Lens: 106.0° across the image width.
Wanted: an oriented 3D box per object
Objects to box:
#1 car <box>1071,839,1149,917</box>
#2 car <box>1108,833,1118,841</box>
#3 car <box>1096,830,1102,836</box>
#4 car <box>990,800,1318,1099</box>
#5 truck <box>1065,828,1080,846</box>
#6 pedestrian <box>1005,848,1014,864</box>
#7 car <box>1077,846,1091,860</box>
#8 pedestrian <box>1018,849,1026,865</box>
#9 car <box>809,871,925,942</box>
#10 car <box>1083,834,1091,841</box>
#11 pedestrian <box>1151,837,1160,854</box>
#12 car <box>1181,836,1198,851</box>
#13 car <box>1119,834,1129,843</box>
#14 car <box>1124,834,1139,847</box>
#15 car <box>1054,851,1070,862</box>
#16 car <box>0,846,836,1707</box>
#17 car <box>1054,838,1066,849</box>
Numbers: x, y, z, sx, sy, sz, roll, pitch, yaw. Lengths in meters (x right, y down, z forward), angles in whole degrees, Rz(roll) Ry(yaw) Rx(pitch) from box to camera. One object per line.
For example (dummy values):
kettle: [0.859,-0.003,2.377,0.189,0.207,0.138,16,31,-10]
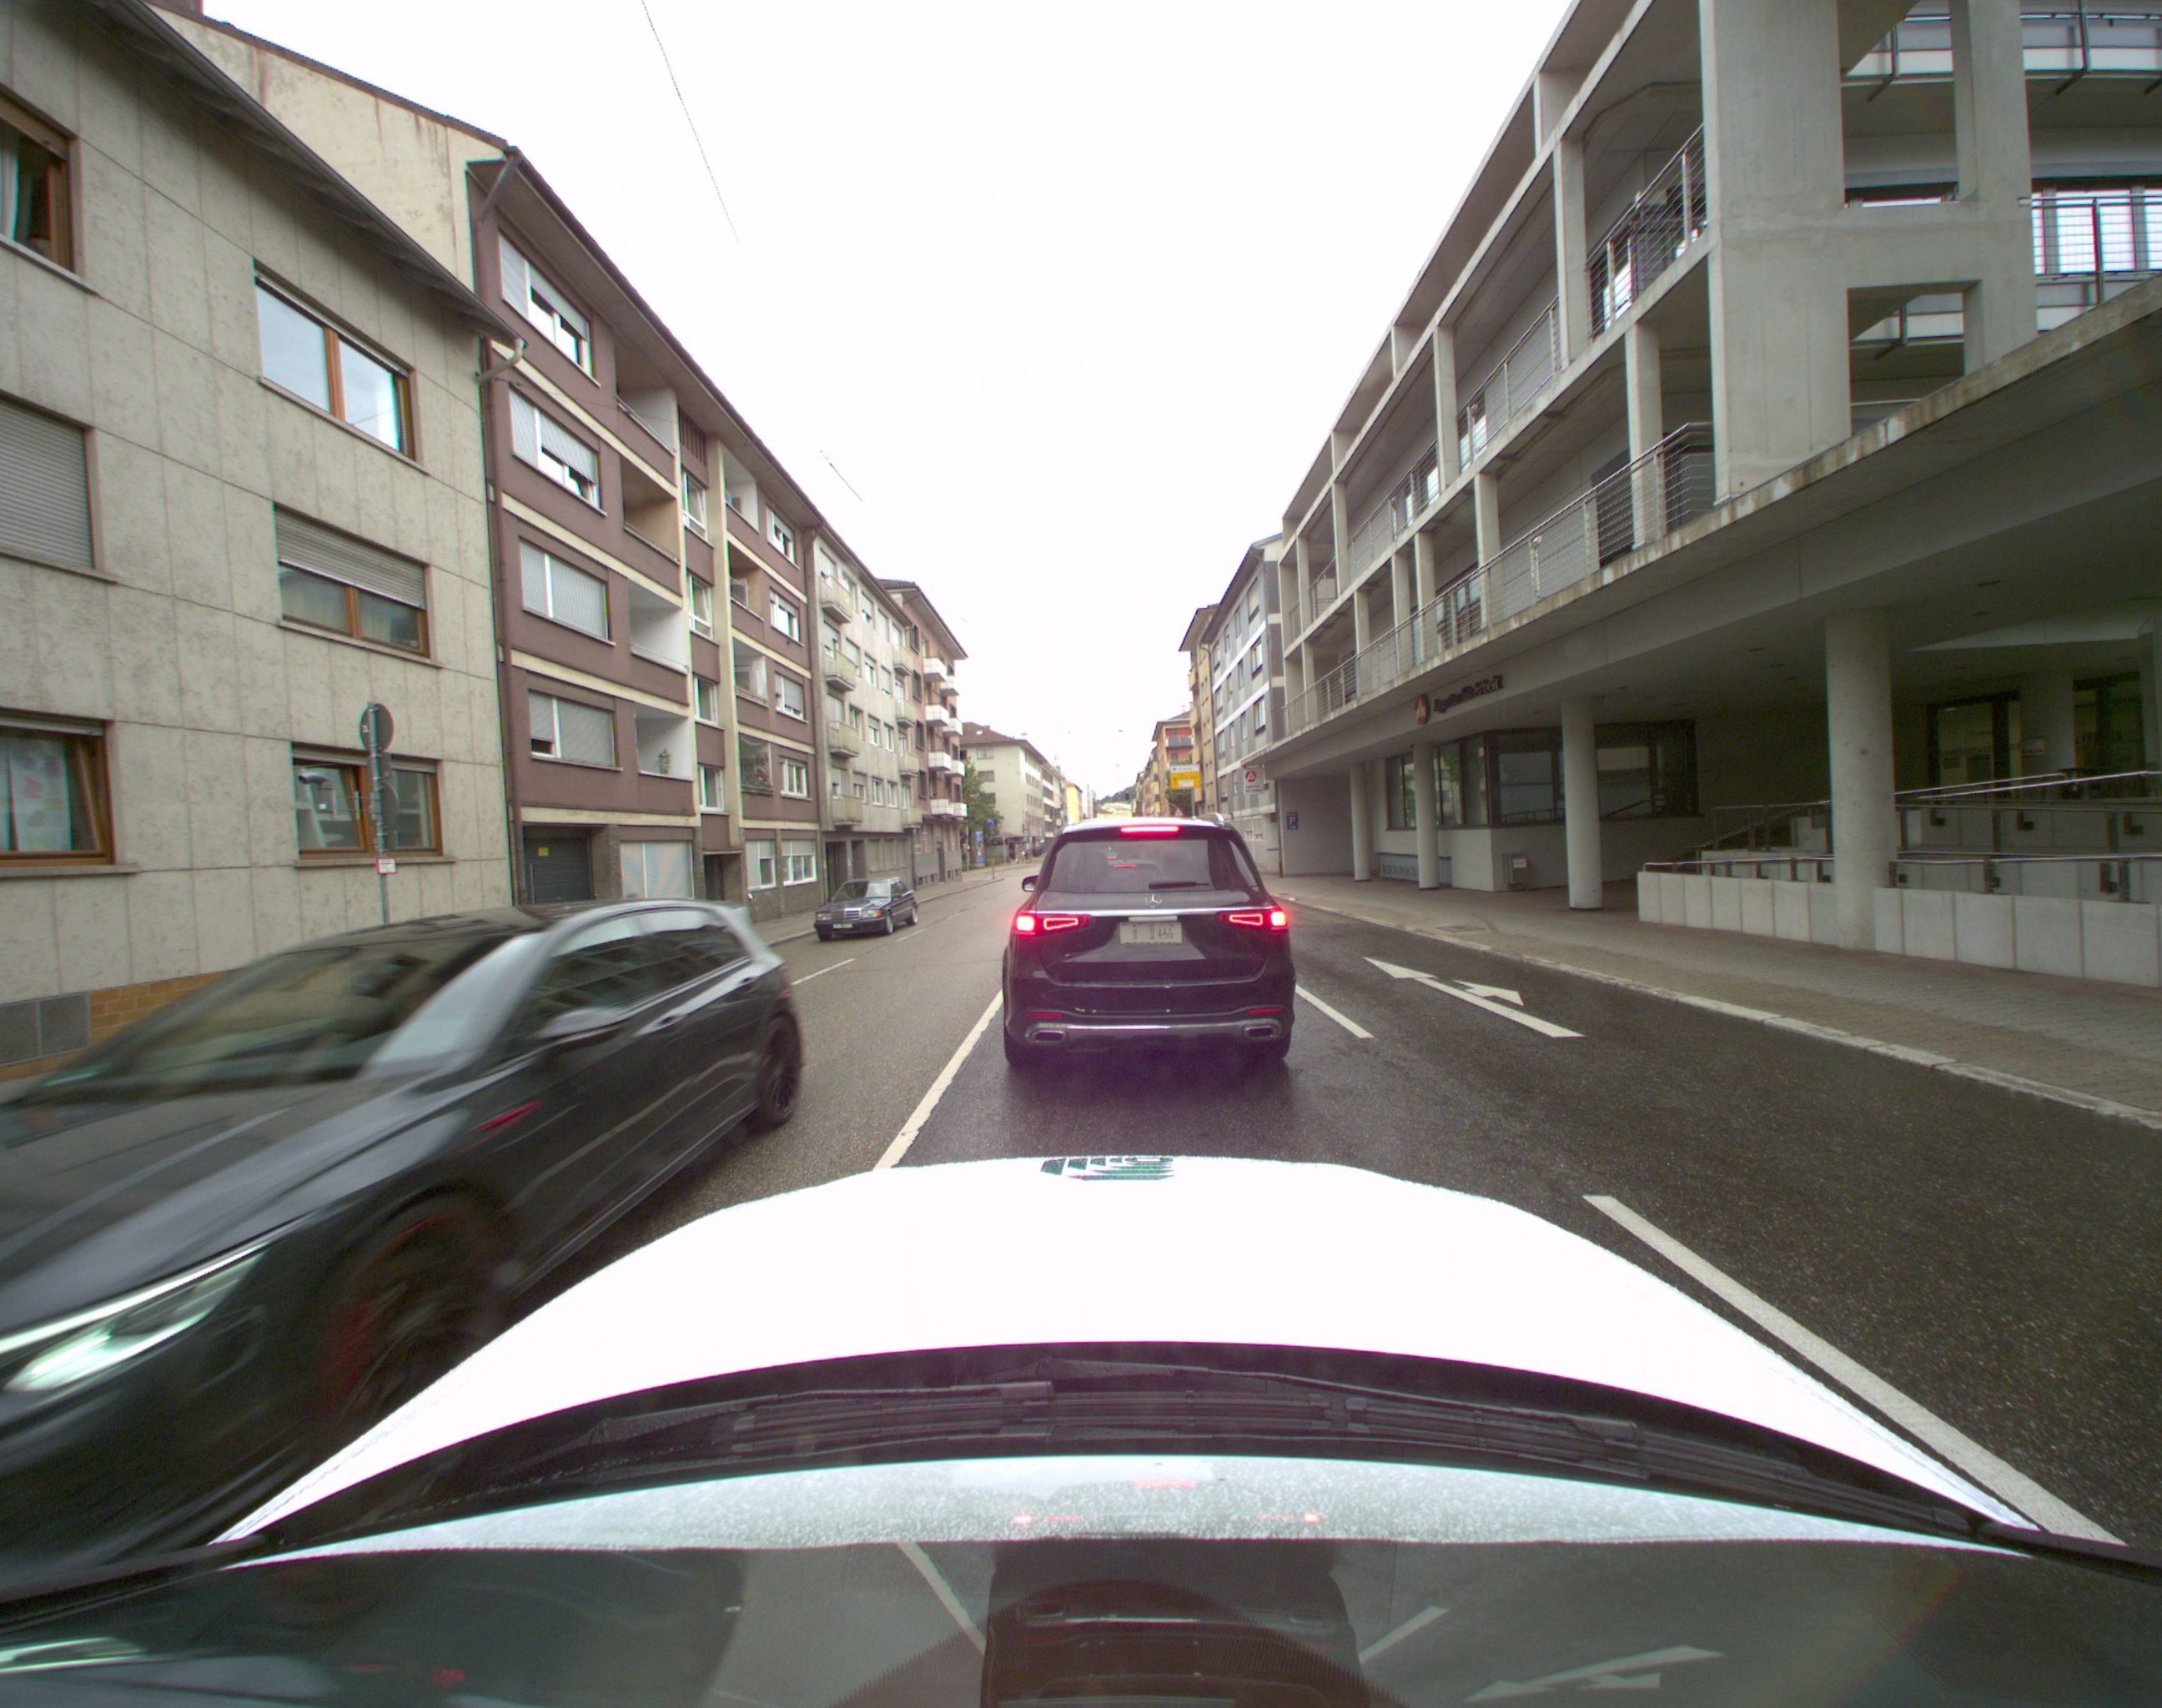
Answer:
car: [0.665,0.582,20.959,1.746,1.731,4.216,-3,-1,0]
car: [6.522,-3.449,166.475,1.613,1.539,4.216,-4,-1,0]
car: [5.538,-6.371,250.481,1.613,1.539,4.216,-4,-1,0]
car: [0.509,0.597,7.137,1.977,1.805,4.391,0,-1,2]
truck: [-1.607,-3.172,157.371,2.472,3.046,9.917,-4,-1,0]
pedestrian: [-8.993,0.241,102.187,0.920,1.902,0.706,-3,0,0]
car: [0.378,-0.138,101.431,1.613,1.539,4.216,-4,-1,0]
pedestrian: [-6.819,0.318,94.494,0.631,1.764,0.776,-3,0,15]
car: [-5.253,1.231,20.595,1.593,1.370,4.362,-6,0,1]
car: [1.445,-3.949,193.971,1.613,1.539,4.216,-4,-1,0]
pedestrian: [9.008,-1.053,98.570,0.920,2.013,0.706,-3,0,0]
car: [12.624,-1.177,94.531,1.664,1.588,3.334,-3,0,4]
car: [8.175,-2.985,154.669,1.613,1.387,4.216,-5,-1,0]
car: [7.300,-1.954,118.539,1.718,1.759,4.216,-4,-1,0]
car: [-2.431,0.319,105.750,1.879,1.264,4.216,-5,-1,0]
car: [-2.654,0.876,3.624,1.689,1.580,4.218,-5,-1,1]
car: [-3.394,-1.707,131.948,1.613,1.539,4.216,-4,-1,0]
